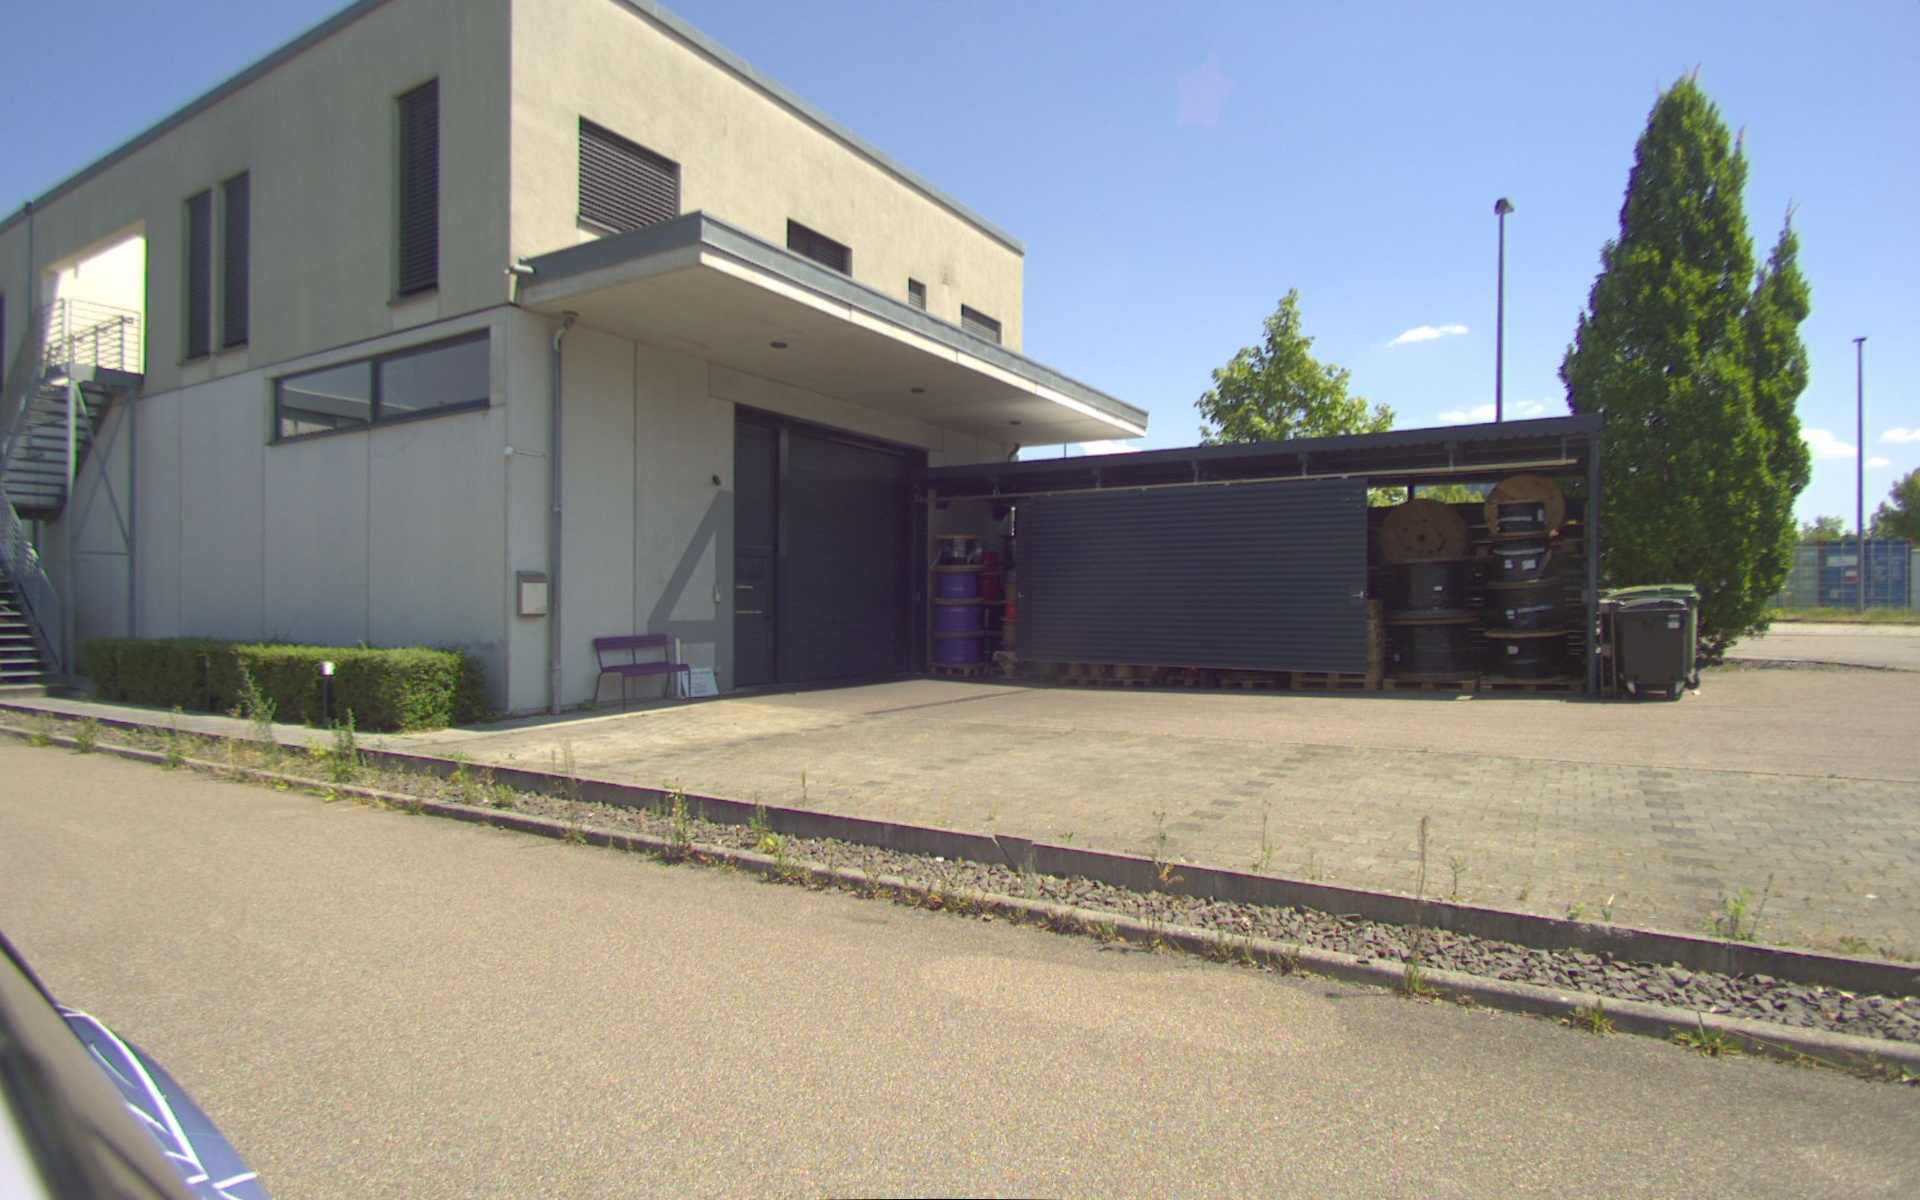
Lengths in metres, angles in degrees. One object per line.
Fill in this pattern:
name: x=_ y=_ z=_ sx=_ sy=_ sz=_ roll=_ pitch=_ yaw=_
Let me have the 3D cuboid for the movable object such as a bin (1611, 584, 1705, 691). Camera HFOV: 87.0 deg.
movable object such as a bin: x=9.110 y=0.473 z=13.215 sx=0.972 sy=1.340 sz=0.701 roll=-1 pitch=0 yaw=37

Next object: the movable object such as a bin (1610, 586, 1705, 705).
movable object such as a bin: x=8.324 y=0.522 z=12.076 sx=0.883 sy=1.355 sz=0.803 roll=-1 pitch=0 yaw=37
